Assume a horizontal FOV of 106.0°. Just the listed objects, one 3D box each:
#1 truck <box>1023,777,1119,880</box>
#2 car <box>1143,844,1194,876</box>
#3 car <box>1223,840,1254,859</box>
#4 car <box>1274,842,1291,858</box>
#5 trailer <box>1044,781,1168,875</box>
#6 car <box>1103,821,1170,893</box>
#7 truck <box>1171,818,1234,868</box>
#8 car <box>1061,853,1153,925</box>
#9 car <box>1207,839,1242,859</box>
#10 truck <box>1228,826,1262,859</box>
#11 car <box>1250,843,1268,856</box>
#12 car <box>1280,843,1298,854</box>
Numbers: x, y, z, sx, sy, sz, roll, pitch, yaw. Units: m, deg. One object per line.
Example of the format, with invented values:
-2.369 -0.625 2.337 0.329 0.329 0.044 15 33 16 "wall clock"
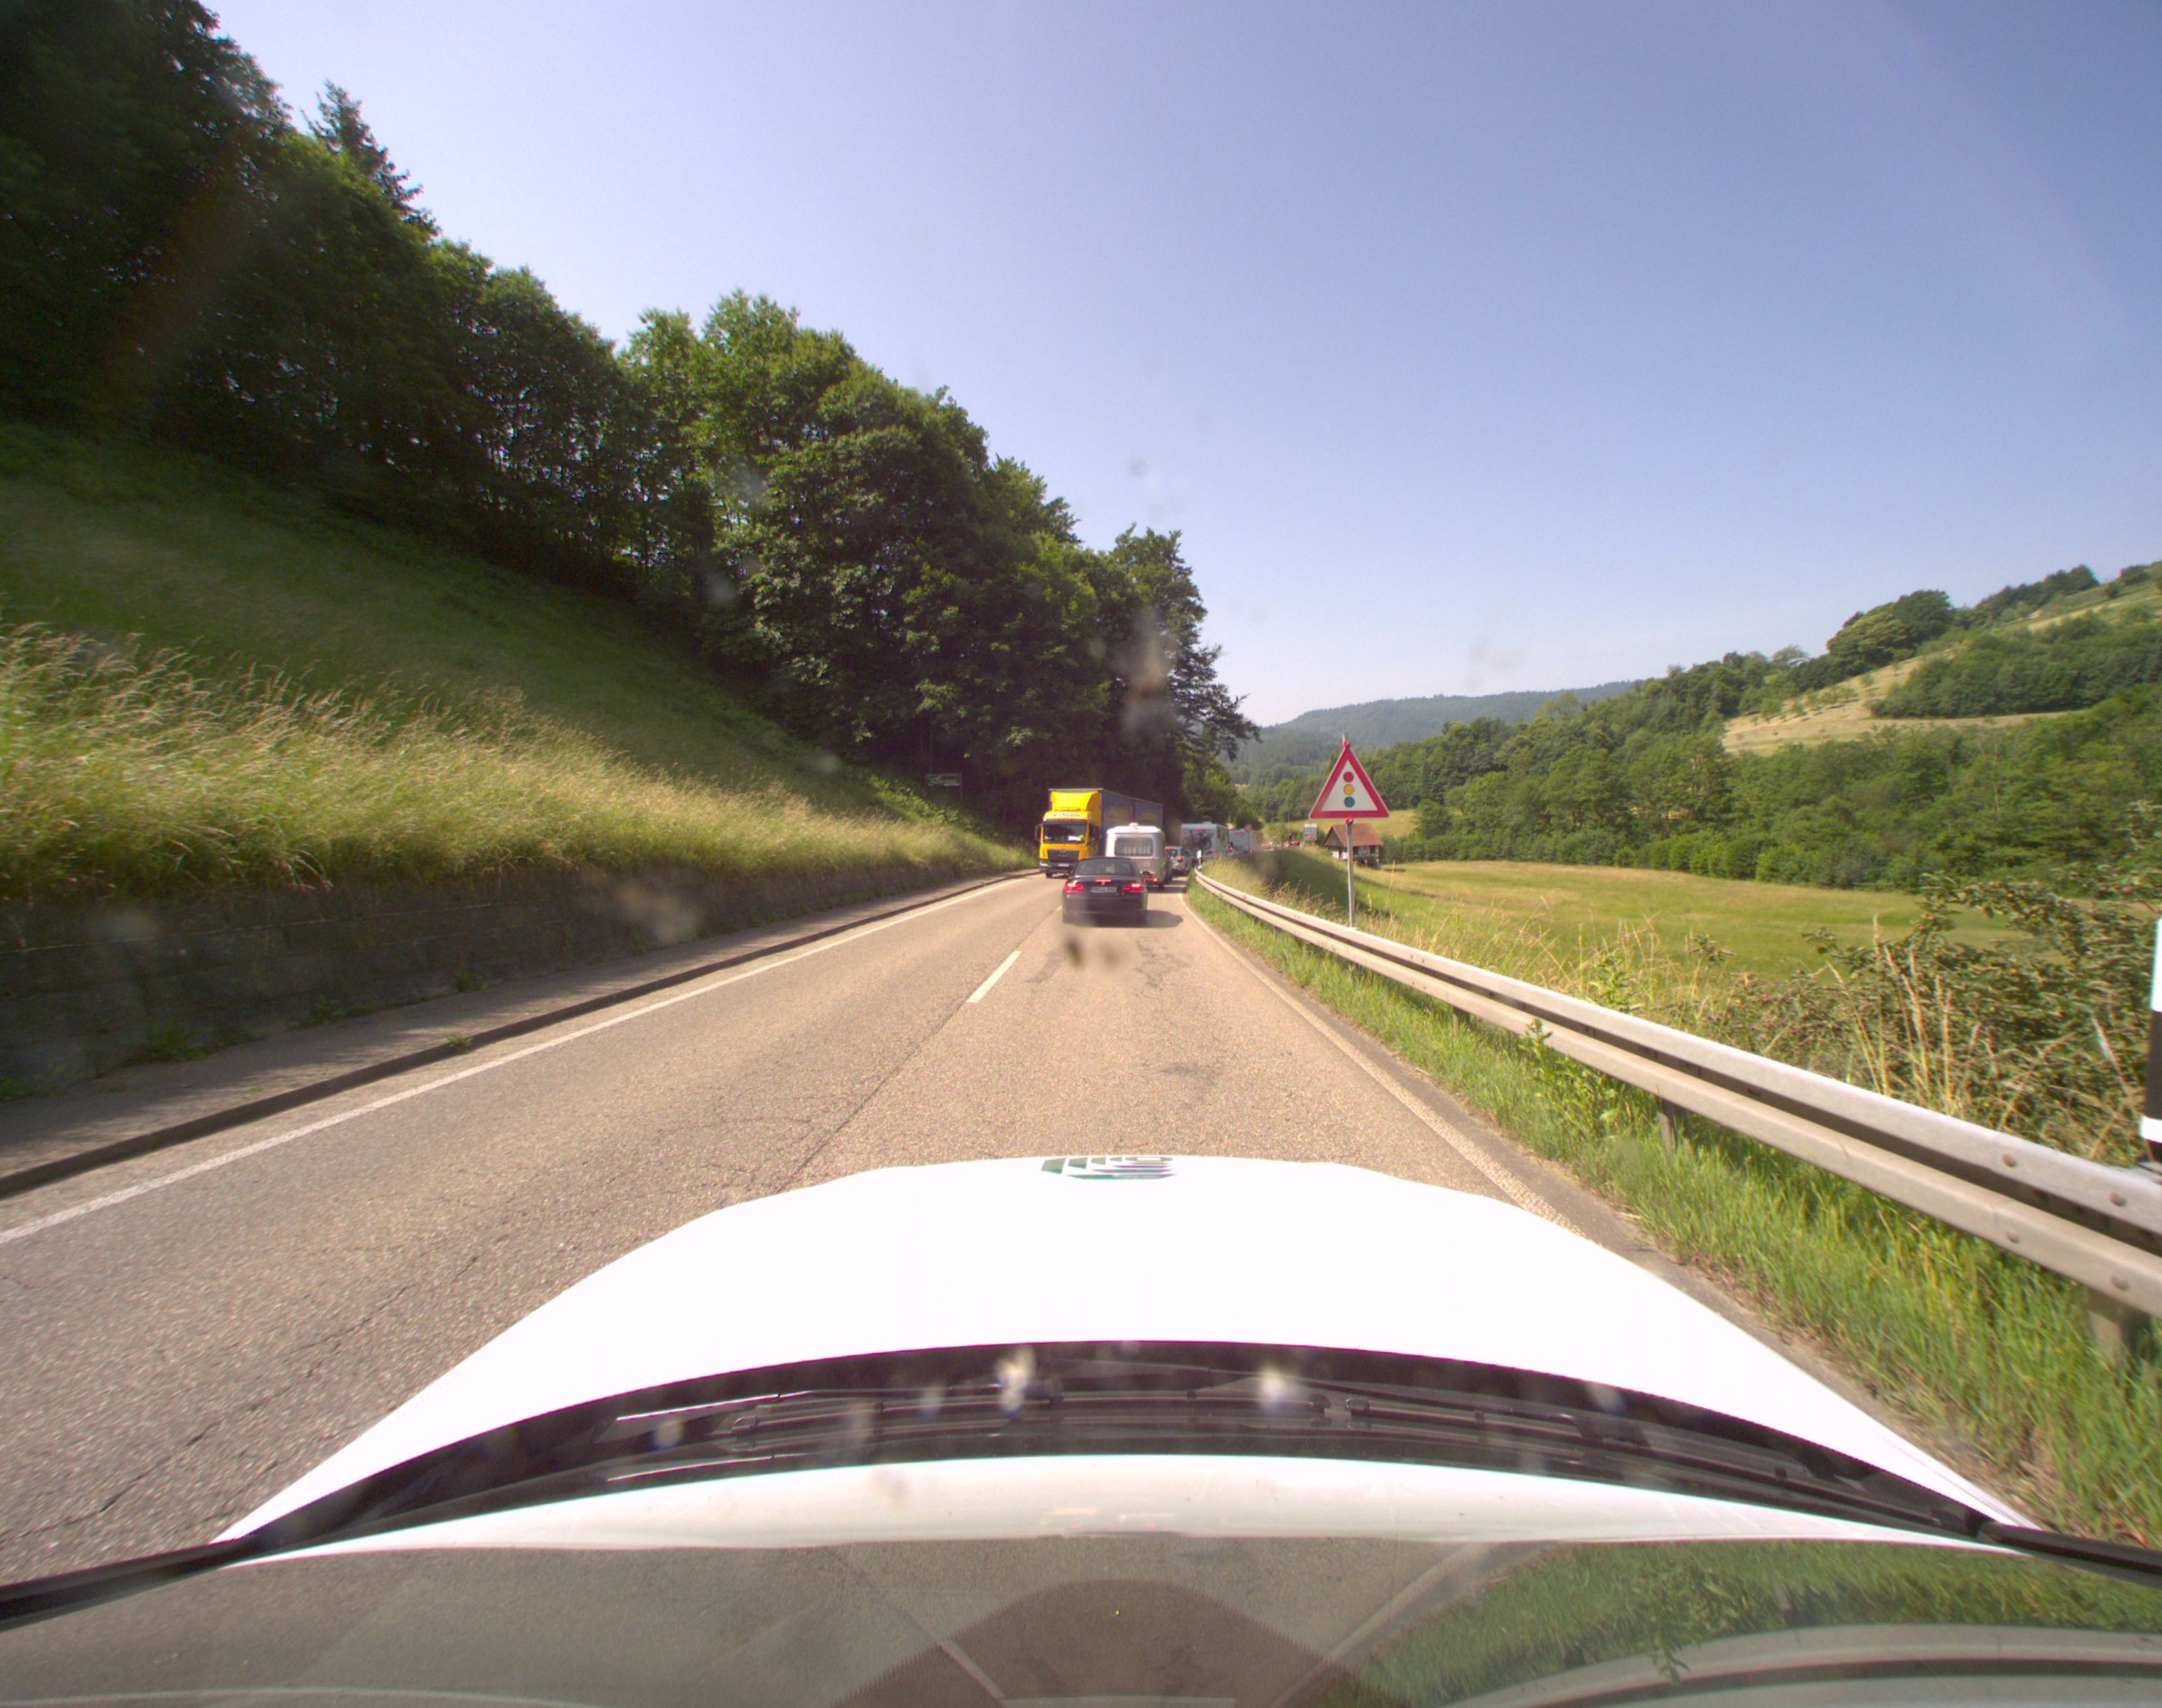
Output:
-0.305 -1.211 38.615 3.168 4.396 6.592 1 2 11 "truck"
4.472 0.260 41.156 1.979 1.484 4.016 2 1 14 "car"
13.231 -0.408 68.331 1.772 1.463 4.021 3 2 21 "car"
26.256 -0.530 106.003 1.979 1.925 4.015 4 0 15 "car"
1.934 -1.390 46.294 3.235 4.417 15.382 1 1 16 "trailer"
2.077 0.012 29.087 1.982 2.352 4.927 0 2 9 "car"
8.024 -0.748 53.106 2.768 2.997 6.901 2 2 19 "truck"
0.510 0.677 17.605 1.765 1.335 3.767 0 1 0 "car"
11.127 -0.419 62.924 1.977 1.463 4.020 3 2 20 "car"
15.149 -1.011 74.976 2.219 2.804 6.261 1 0 18 "truck"
21.149 -0.567 96.664 1.893 1.486 4.015 1 0 14 "car"
31.428 -0.813 123.009 1.976 1.575 4.021 1 0 22 "car"
